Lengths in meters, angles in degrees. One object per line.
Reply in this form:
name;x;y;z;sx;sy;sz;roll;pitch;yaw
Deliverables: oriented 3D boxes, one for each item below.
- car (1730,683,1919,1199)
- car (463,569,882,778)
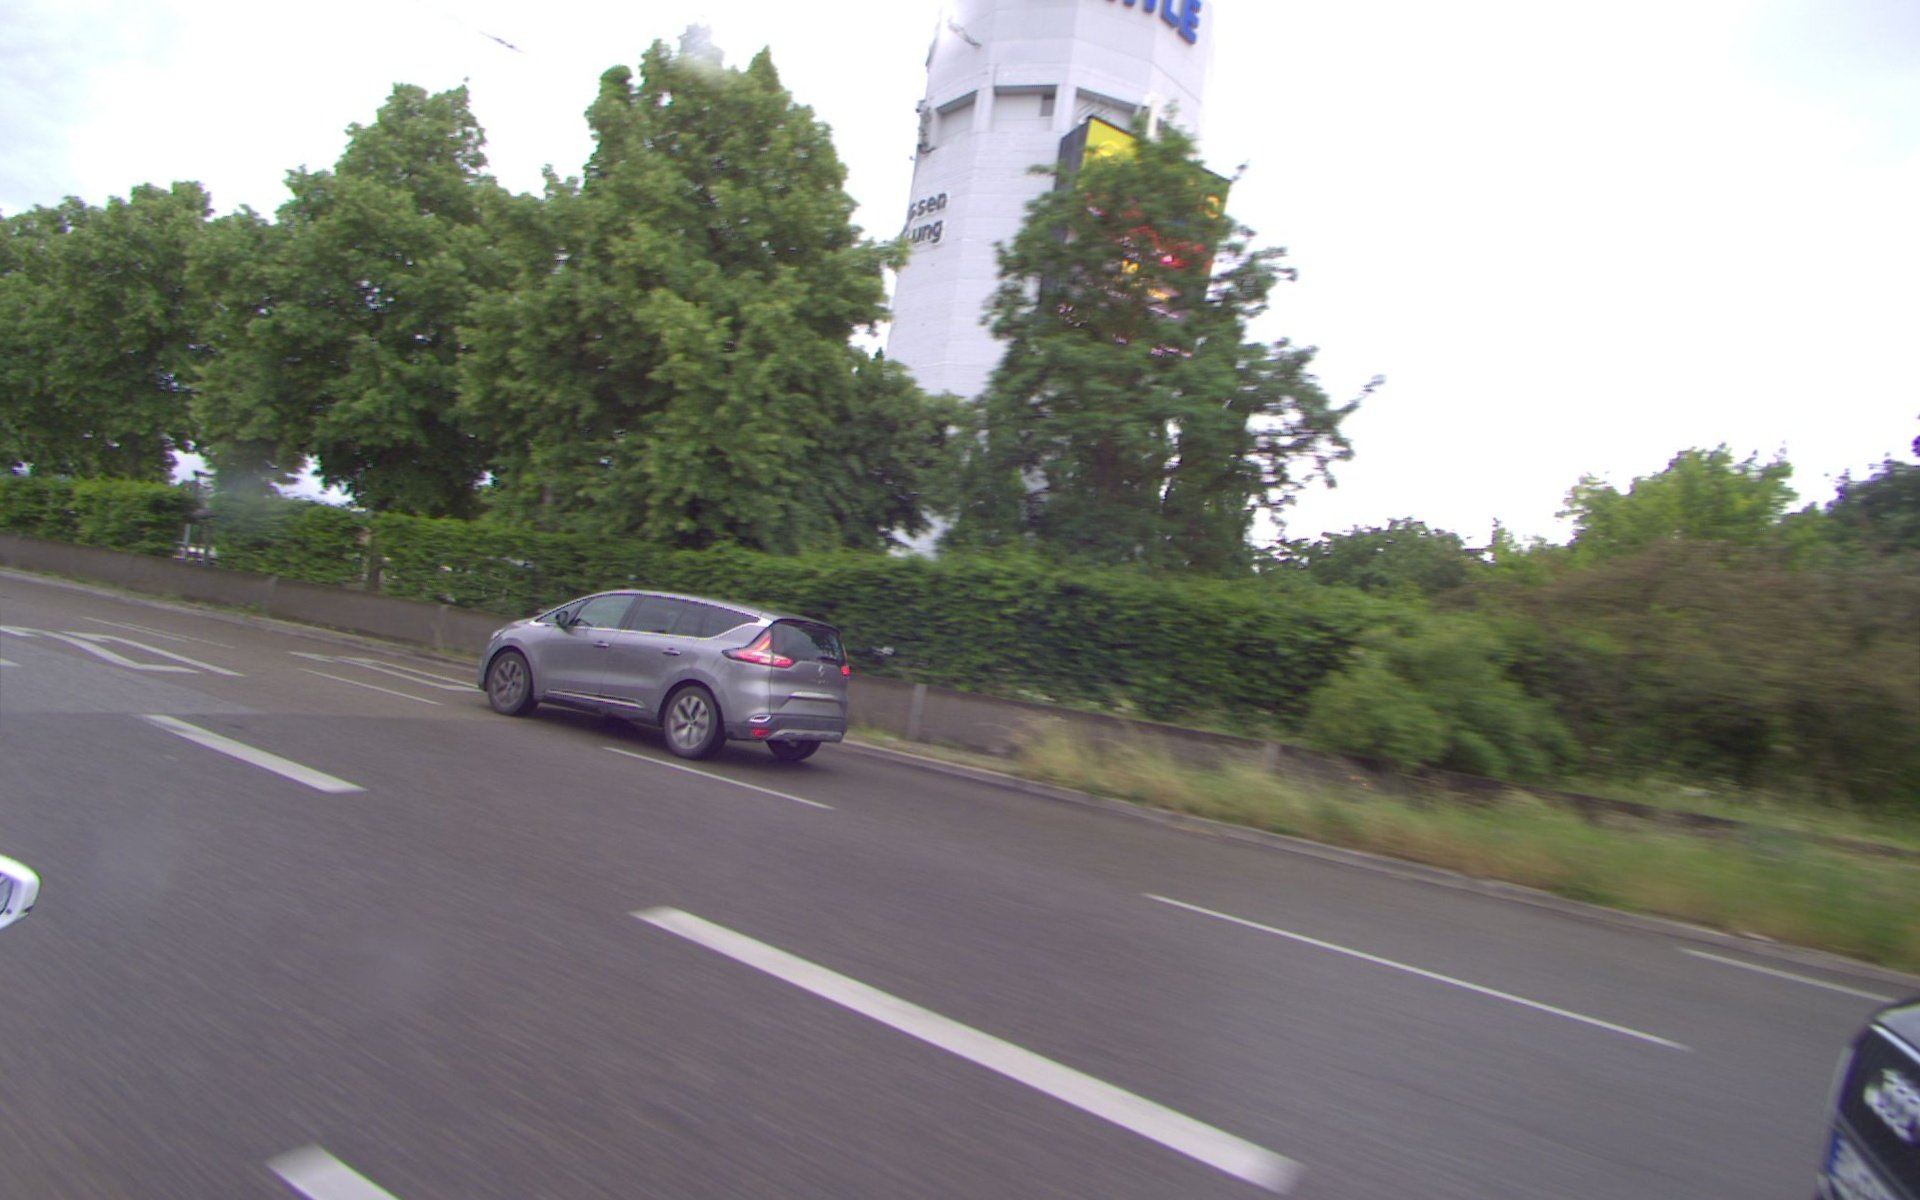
car;3.829;1.169;1.335;4.053;1.551;1.731;7;-2;26
car;-3.343;0.785;11.444;4.547;1.666;1.732;6;-5;30
